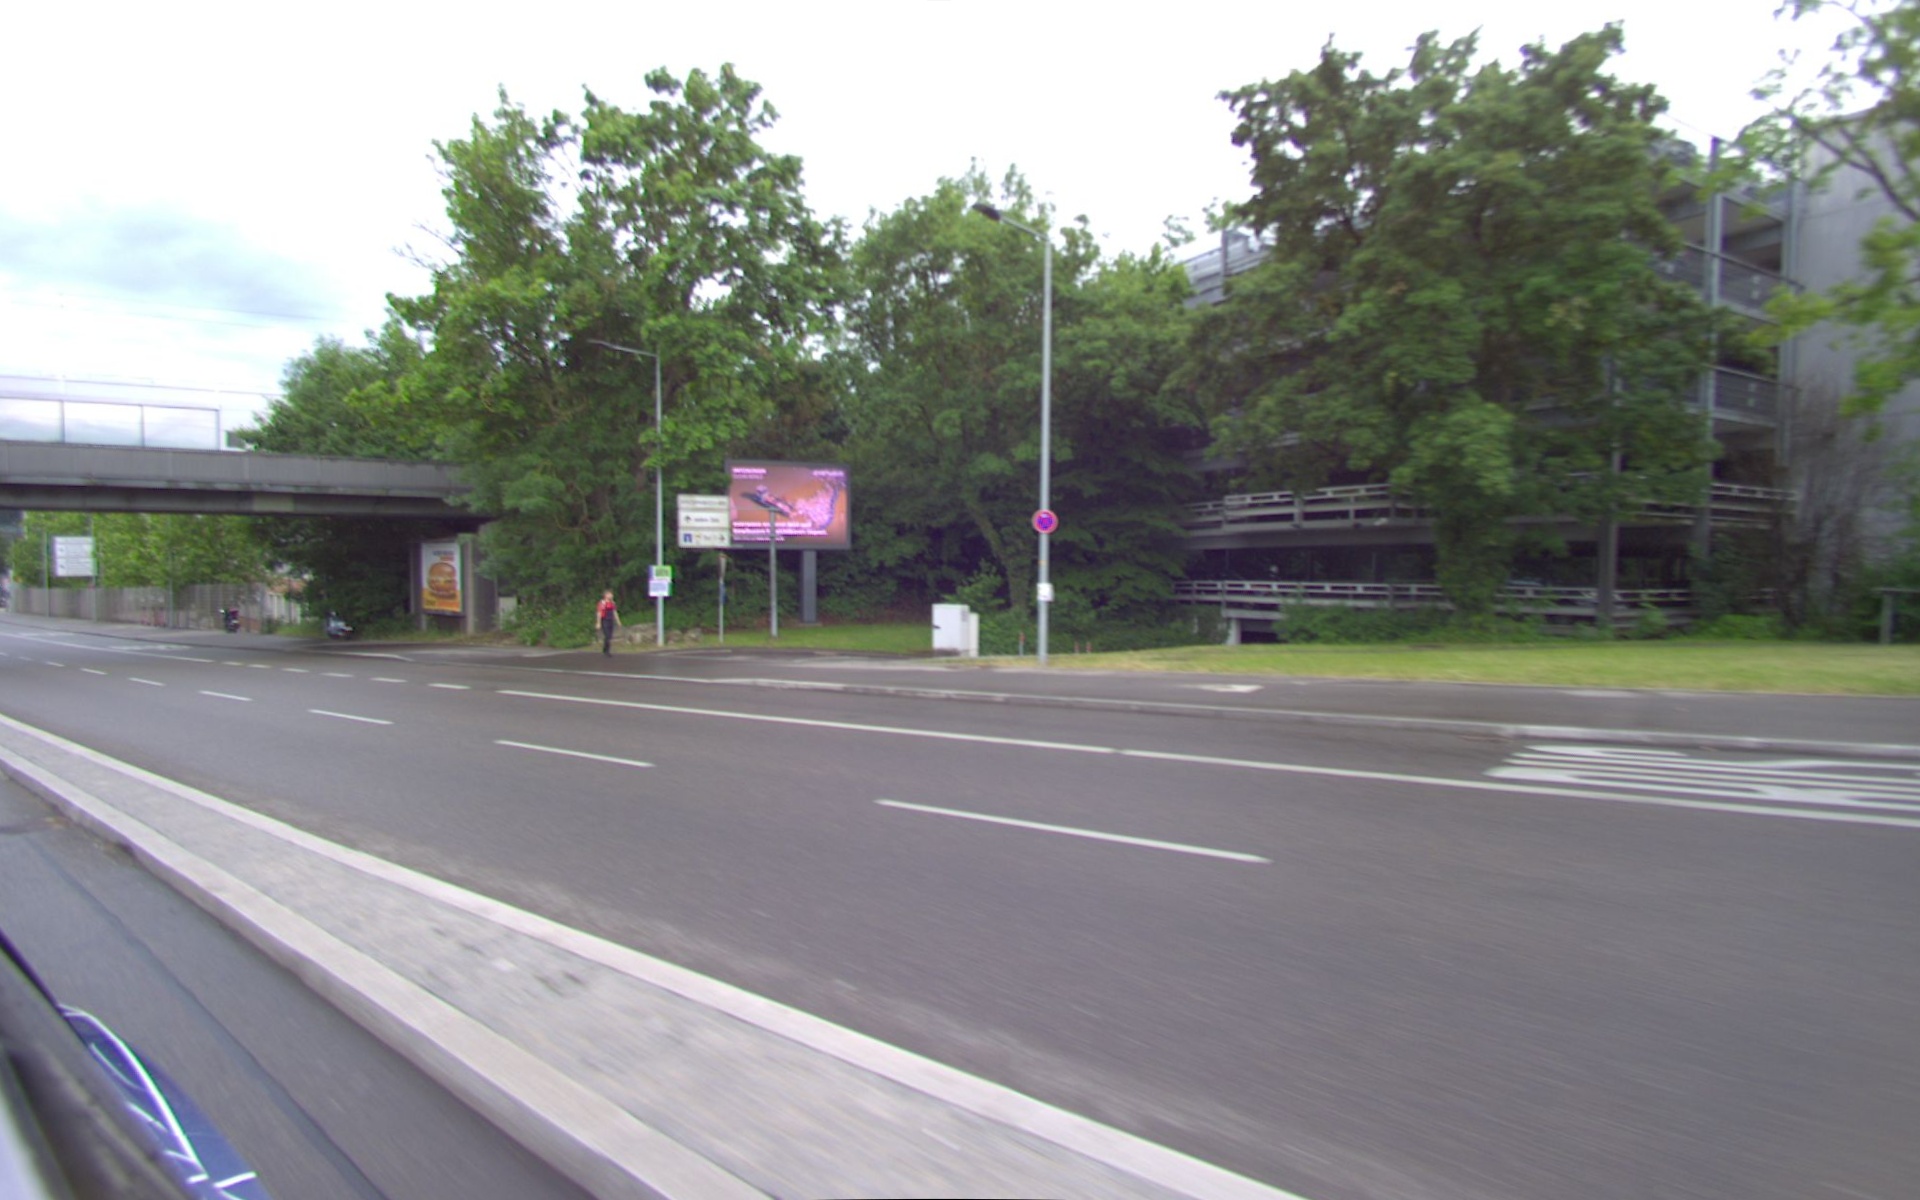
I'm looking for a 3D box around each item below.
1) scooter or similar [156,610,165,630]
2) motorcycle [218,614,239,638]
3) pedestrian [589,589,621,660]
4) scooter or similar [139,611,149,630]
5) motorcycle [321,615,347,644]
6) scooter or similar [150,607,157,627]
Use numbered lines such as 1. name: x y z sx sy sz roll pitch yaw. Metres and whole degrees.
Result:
1. scooter or similar: -50.364 1.232 63.716 0.308 1.227 1.309 -1 0 -44
2. motorcycle: -38.388 1.339 53.077 1.995 1.214 0.464 -1 0 41
3. pedestrian: -9.459 0.644 26.933 0.513 1.829 0.801 -2 1 -39
4. scooter or similar: -54.026 1.356 67.002 1.307 1.227 0.308 0 0 42
5. motorcycle: -25.953 1.228 41.923 1.933 1.167 0.463 -1 0 45
6. scooter or similar: -52.089 1.098 65.391 0.307 1.227 1.311 -1 0 -37
